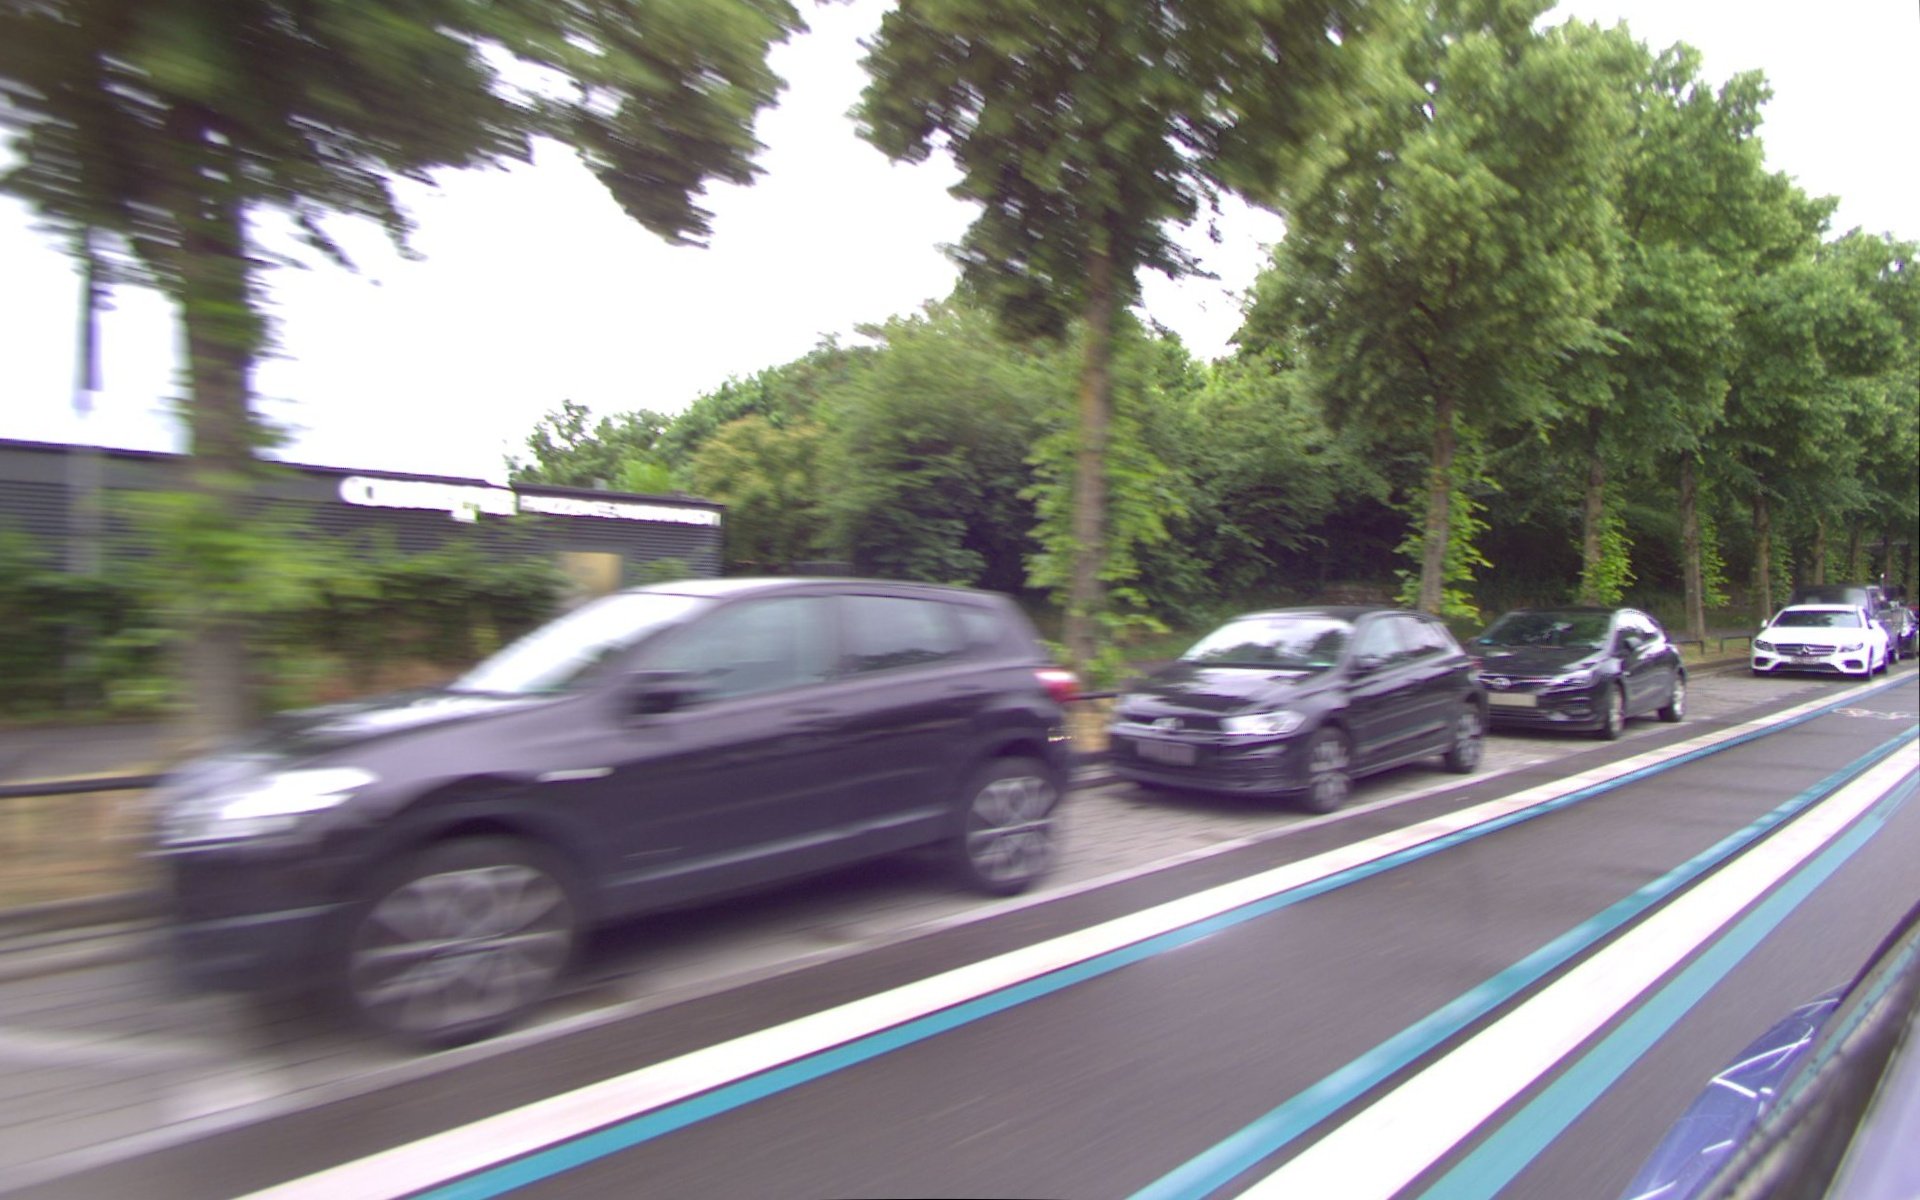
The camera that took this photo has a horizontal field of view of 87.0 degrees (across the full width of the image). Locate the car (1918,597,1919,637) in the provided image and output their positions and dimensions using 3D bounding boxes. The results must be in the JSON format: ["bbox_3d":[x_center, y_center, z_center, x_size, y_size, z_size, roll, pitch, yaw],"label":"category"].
[{"bbox_3d":[35.707,0.578,36.272,4.115,1.407,1.580,-1,0,-41],"label":"car"}]

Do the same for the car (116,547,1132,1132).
[{"bbox_3d":[-1.233,0.649,4.811,4.263,1.592,1.692,-1,-1,-41],"label":"car"}]

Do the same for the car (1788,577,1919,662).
[{"bbox_3d":[21.975,0.422,24.789,4.534,1.900,1.845,0,0,-41],"label":"car"}]

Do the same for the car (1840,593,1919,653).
[{"bbox_3d":[26.388,0.597,28.579,4.115,1.575,1.738,-1,0,-41],"label":"car"}]

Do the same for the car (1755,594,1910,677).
[{"bbox_3d":[18.093,0.649,20.929,4.217,1.505,1.823,-1,1,-41],"label":"car"}]

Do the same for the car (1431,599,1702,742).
[{"bbox_3d":[7.405,0.719,12.196,4.013,1.400,1.688,-1,0,-42],"label":"car"}]

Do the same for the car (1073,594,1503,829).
[{"bbox_3d":[2.858,0.691,8.339,3.933,1.444,1.692,-1,1,-43],"label":"car"}]

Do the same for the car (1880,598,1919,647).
[{"bbox_3d":[30.033,0.661,31.493,4.115,1.407,1.580,-1,0,-41],"label":"car"}]
